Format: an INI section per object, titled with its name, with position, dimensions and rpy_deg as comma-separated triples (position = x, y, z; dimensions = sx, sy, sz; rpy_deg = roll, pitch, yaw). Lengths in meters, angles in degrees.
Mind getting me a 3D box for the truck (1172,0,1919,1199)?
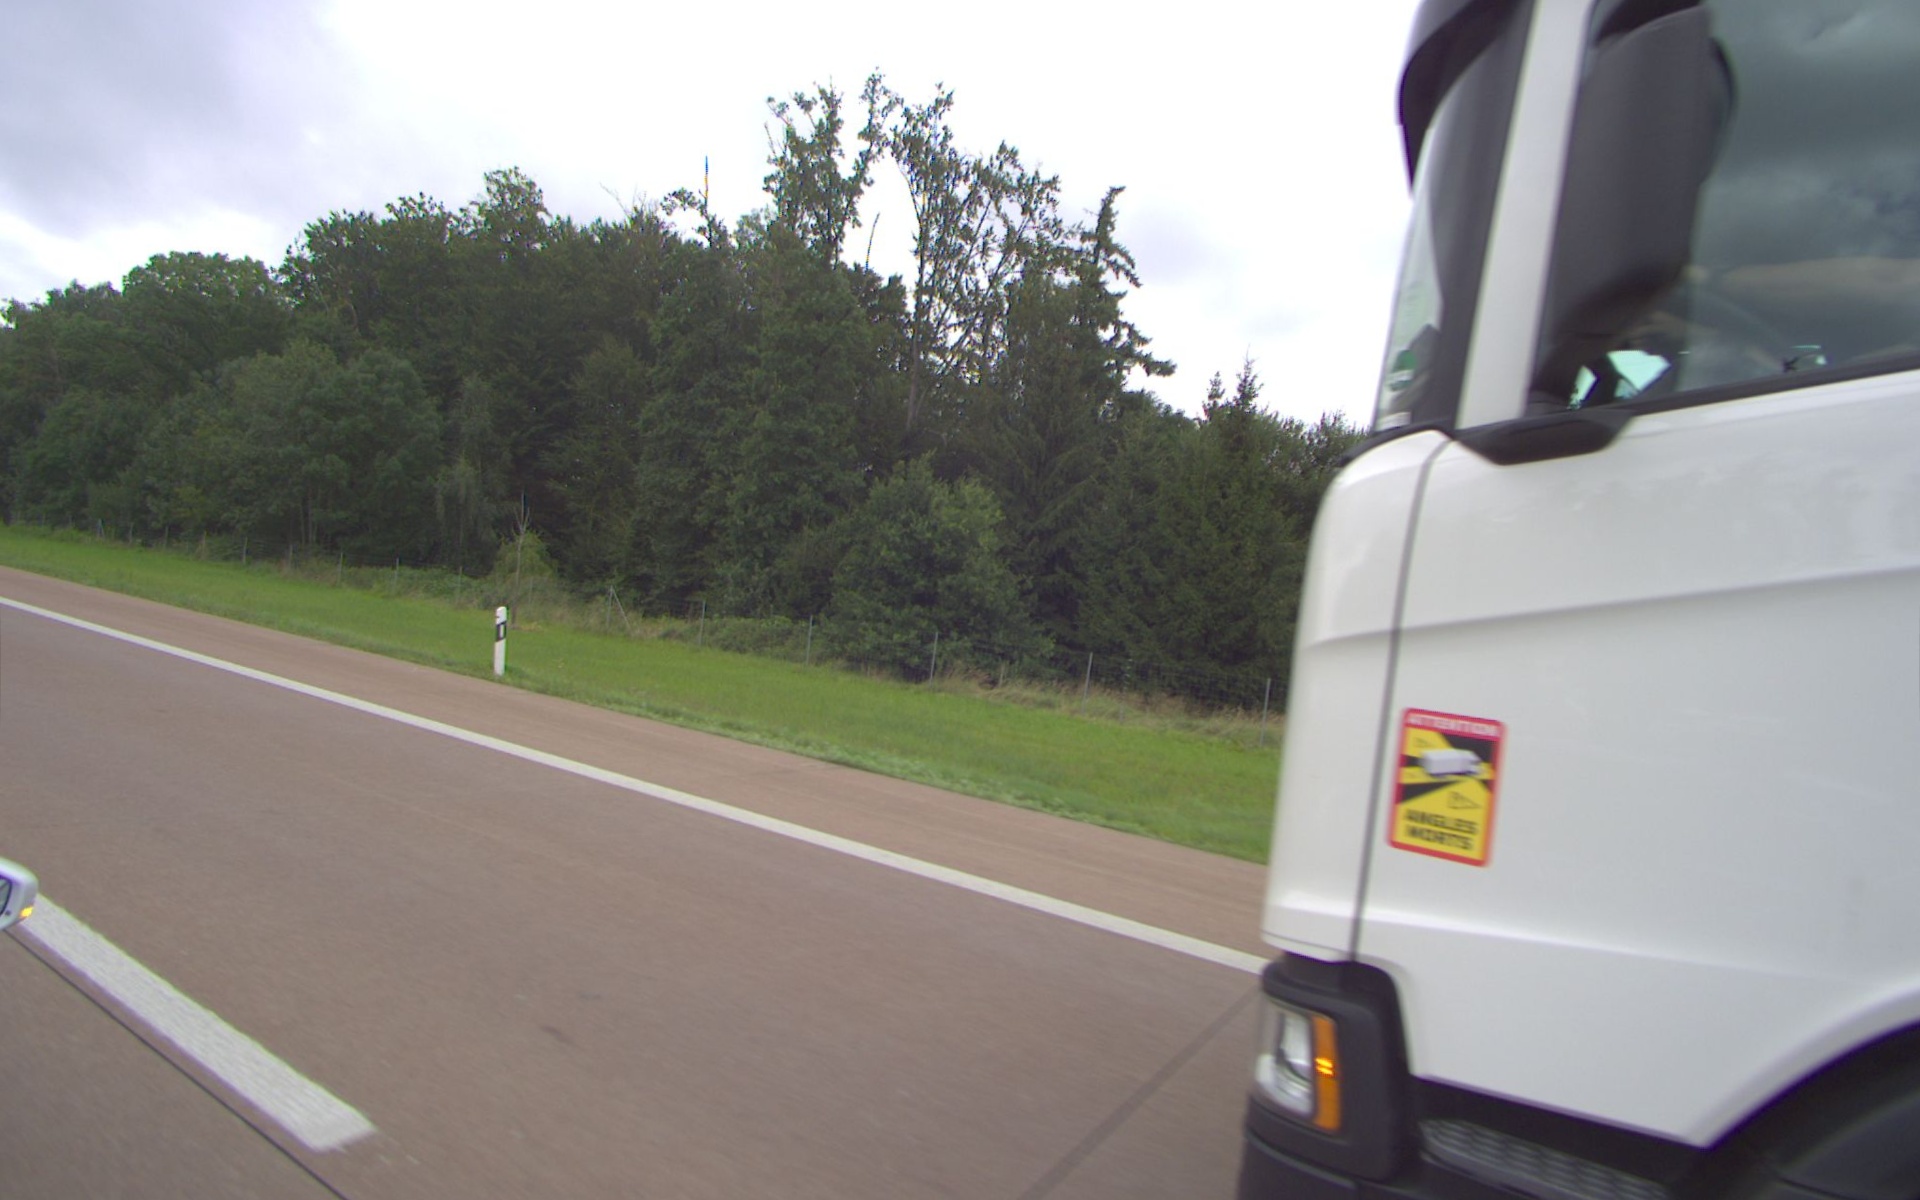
[truck]
position = 3.530, -0.232, 1.631
dimensions = 5.246, 4.345, 2.927
rpy_deg = 7, -1, 31
